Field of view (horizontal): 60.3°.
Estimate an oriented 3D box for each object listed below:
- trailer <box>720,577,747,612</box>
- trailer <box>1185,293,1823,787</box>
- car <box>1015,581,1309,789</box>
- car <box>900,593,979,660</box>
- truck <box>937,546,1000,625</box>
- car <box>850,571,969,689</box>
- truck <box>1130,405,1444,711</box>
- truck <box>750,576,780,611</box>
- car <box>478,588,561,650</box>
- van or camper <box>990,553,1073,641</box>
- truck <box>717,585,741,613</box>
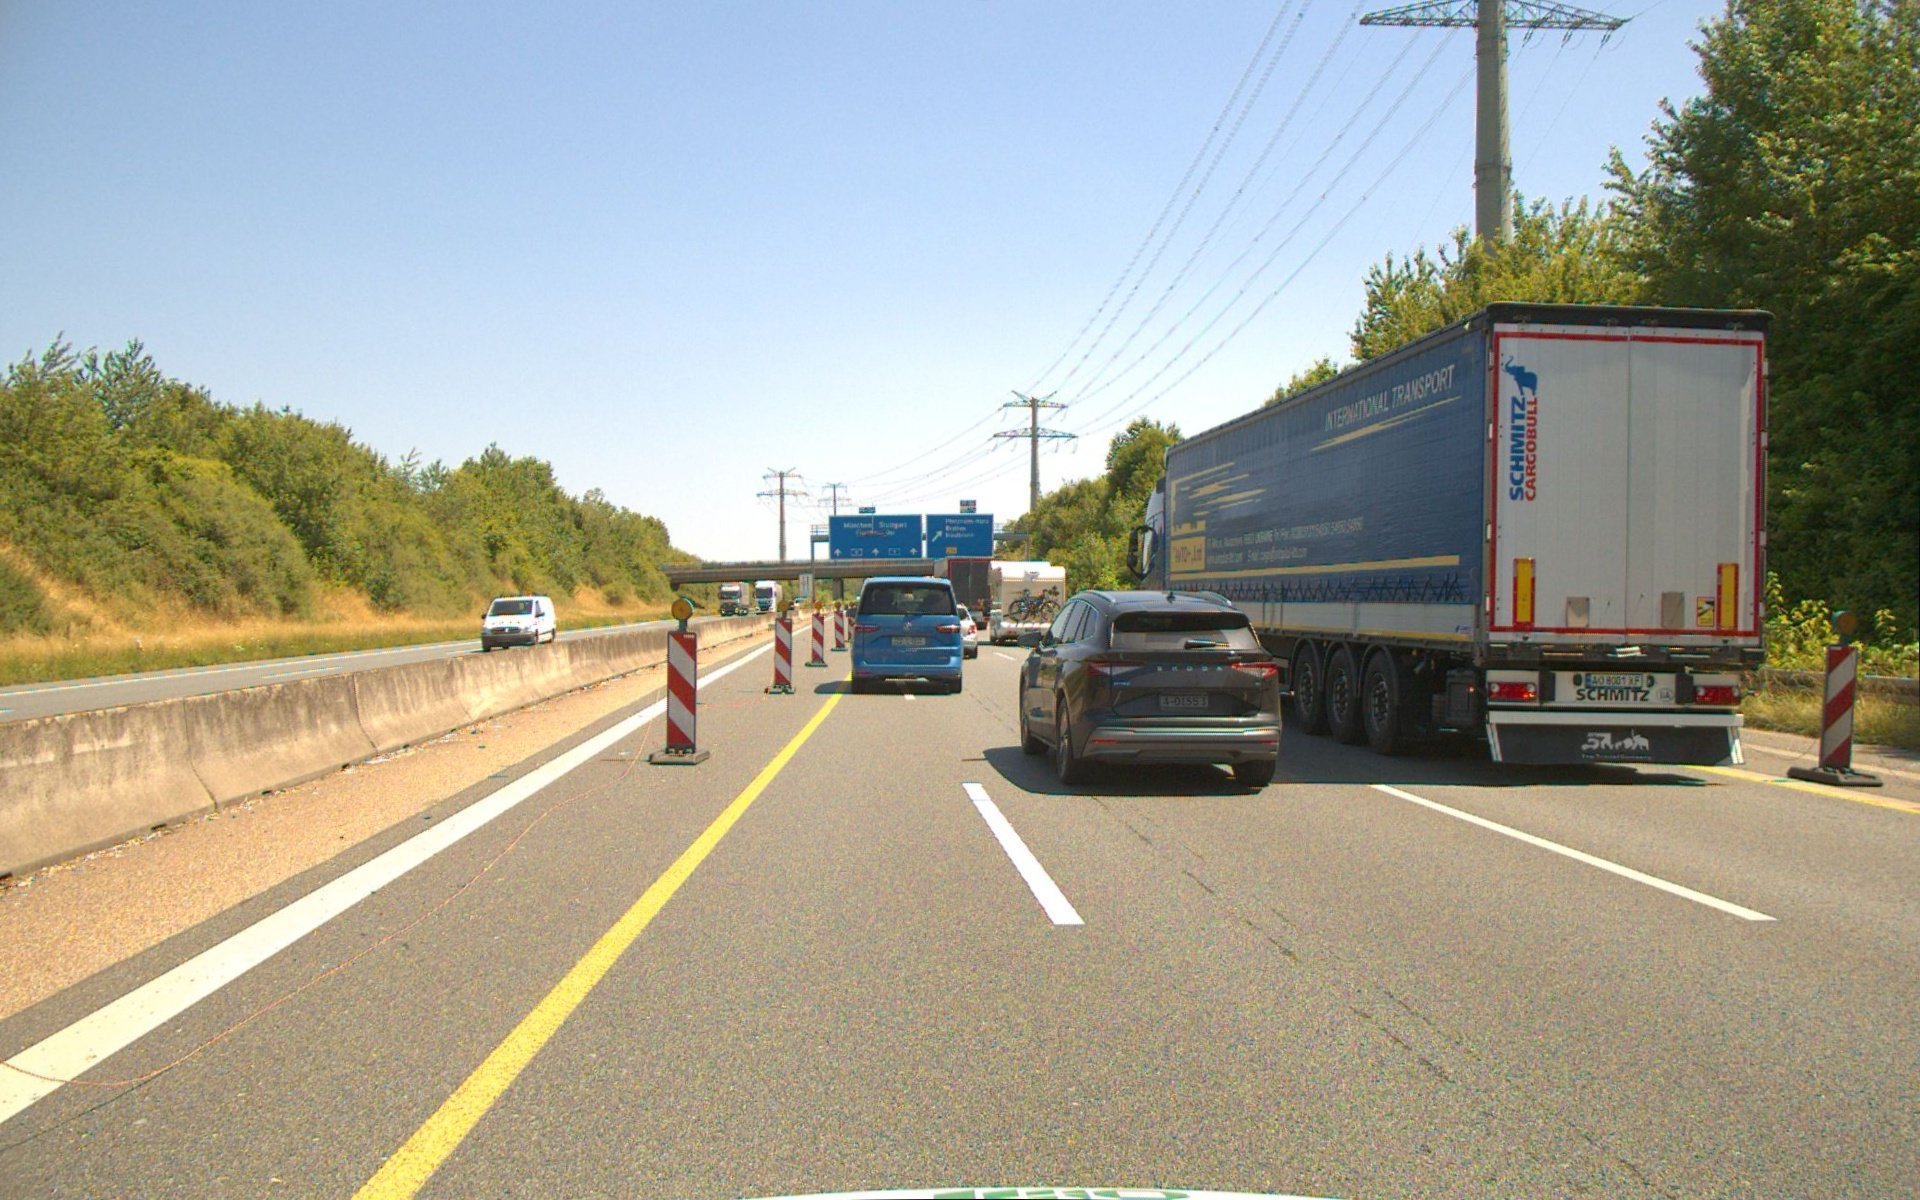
[{"bbox_3d":[-28.815,-0.683,210.831,2.431,4.253,12.076,-1,0,-3],"label":"trailer"},{"bbox_3d":[5.379,-0.506,19.631,3.005,4.113,11.476,0,0,-5],"label":"trailer"},{"bbox_3d":[1.660,0.651,15.129,1.858,1.620,4.439,0,0,-4],"label":"car"},{"bbox_3d":[-0.617,0.670,44.956,1.858,1.535,4.440,2,2,-4],"label":"car"},{"bbox_3d":[0.371,-0.783,95.711,3.016,4.219,13.048,1,0,-2],"label":"truck"},{"bbox_3d":[-0.957,0.519,28.845,1.858,1.874,4.438,1,-1,-4],"label":"car"},{"bbox_3d":[4.880,-0.570,26.485,2.965,4.159,7.788,0,0,-4],"label":"truck"},{"bbox_3d":[-24.531,-0.829,208.636,3.100,4.298,7.412,-1,0,-2],"label":"truck"},{"bbox_3d":[-15.765,0.645,59.448,1.924,2.121,4.934,-1,0,-4],"label":"car"},{"bbox_3d":[2.523,-0.106,60.019,2.534,3.020,6.082,0,0,-2],"label":"van or camper"},{"bbox_3d":[-28.350,-0.142,203.136,2.415,3.345,6.919,-1,0,-3],"label":"truck"}]
